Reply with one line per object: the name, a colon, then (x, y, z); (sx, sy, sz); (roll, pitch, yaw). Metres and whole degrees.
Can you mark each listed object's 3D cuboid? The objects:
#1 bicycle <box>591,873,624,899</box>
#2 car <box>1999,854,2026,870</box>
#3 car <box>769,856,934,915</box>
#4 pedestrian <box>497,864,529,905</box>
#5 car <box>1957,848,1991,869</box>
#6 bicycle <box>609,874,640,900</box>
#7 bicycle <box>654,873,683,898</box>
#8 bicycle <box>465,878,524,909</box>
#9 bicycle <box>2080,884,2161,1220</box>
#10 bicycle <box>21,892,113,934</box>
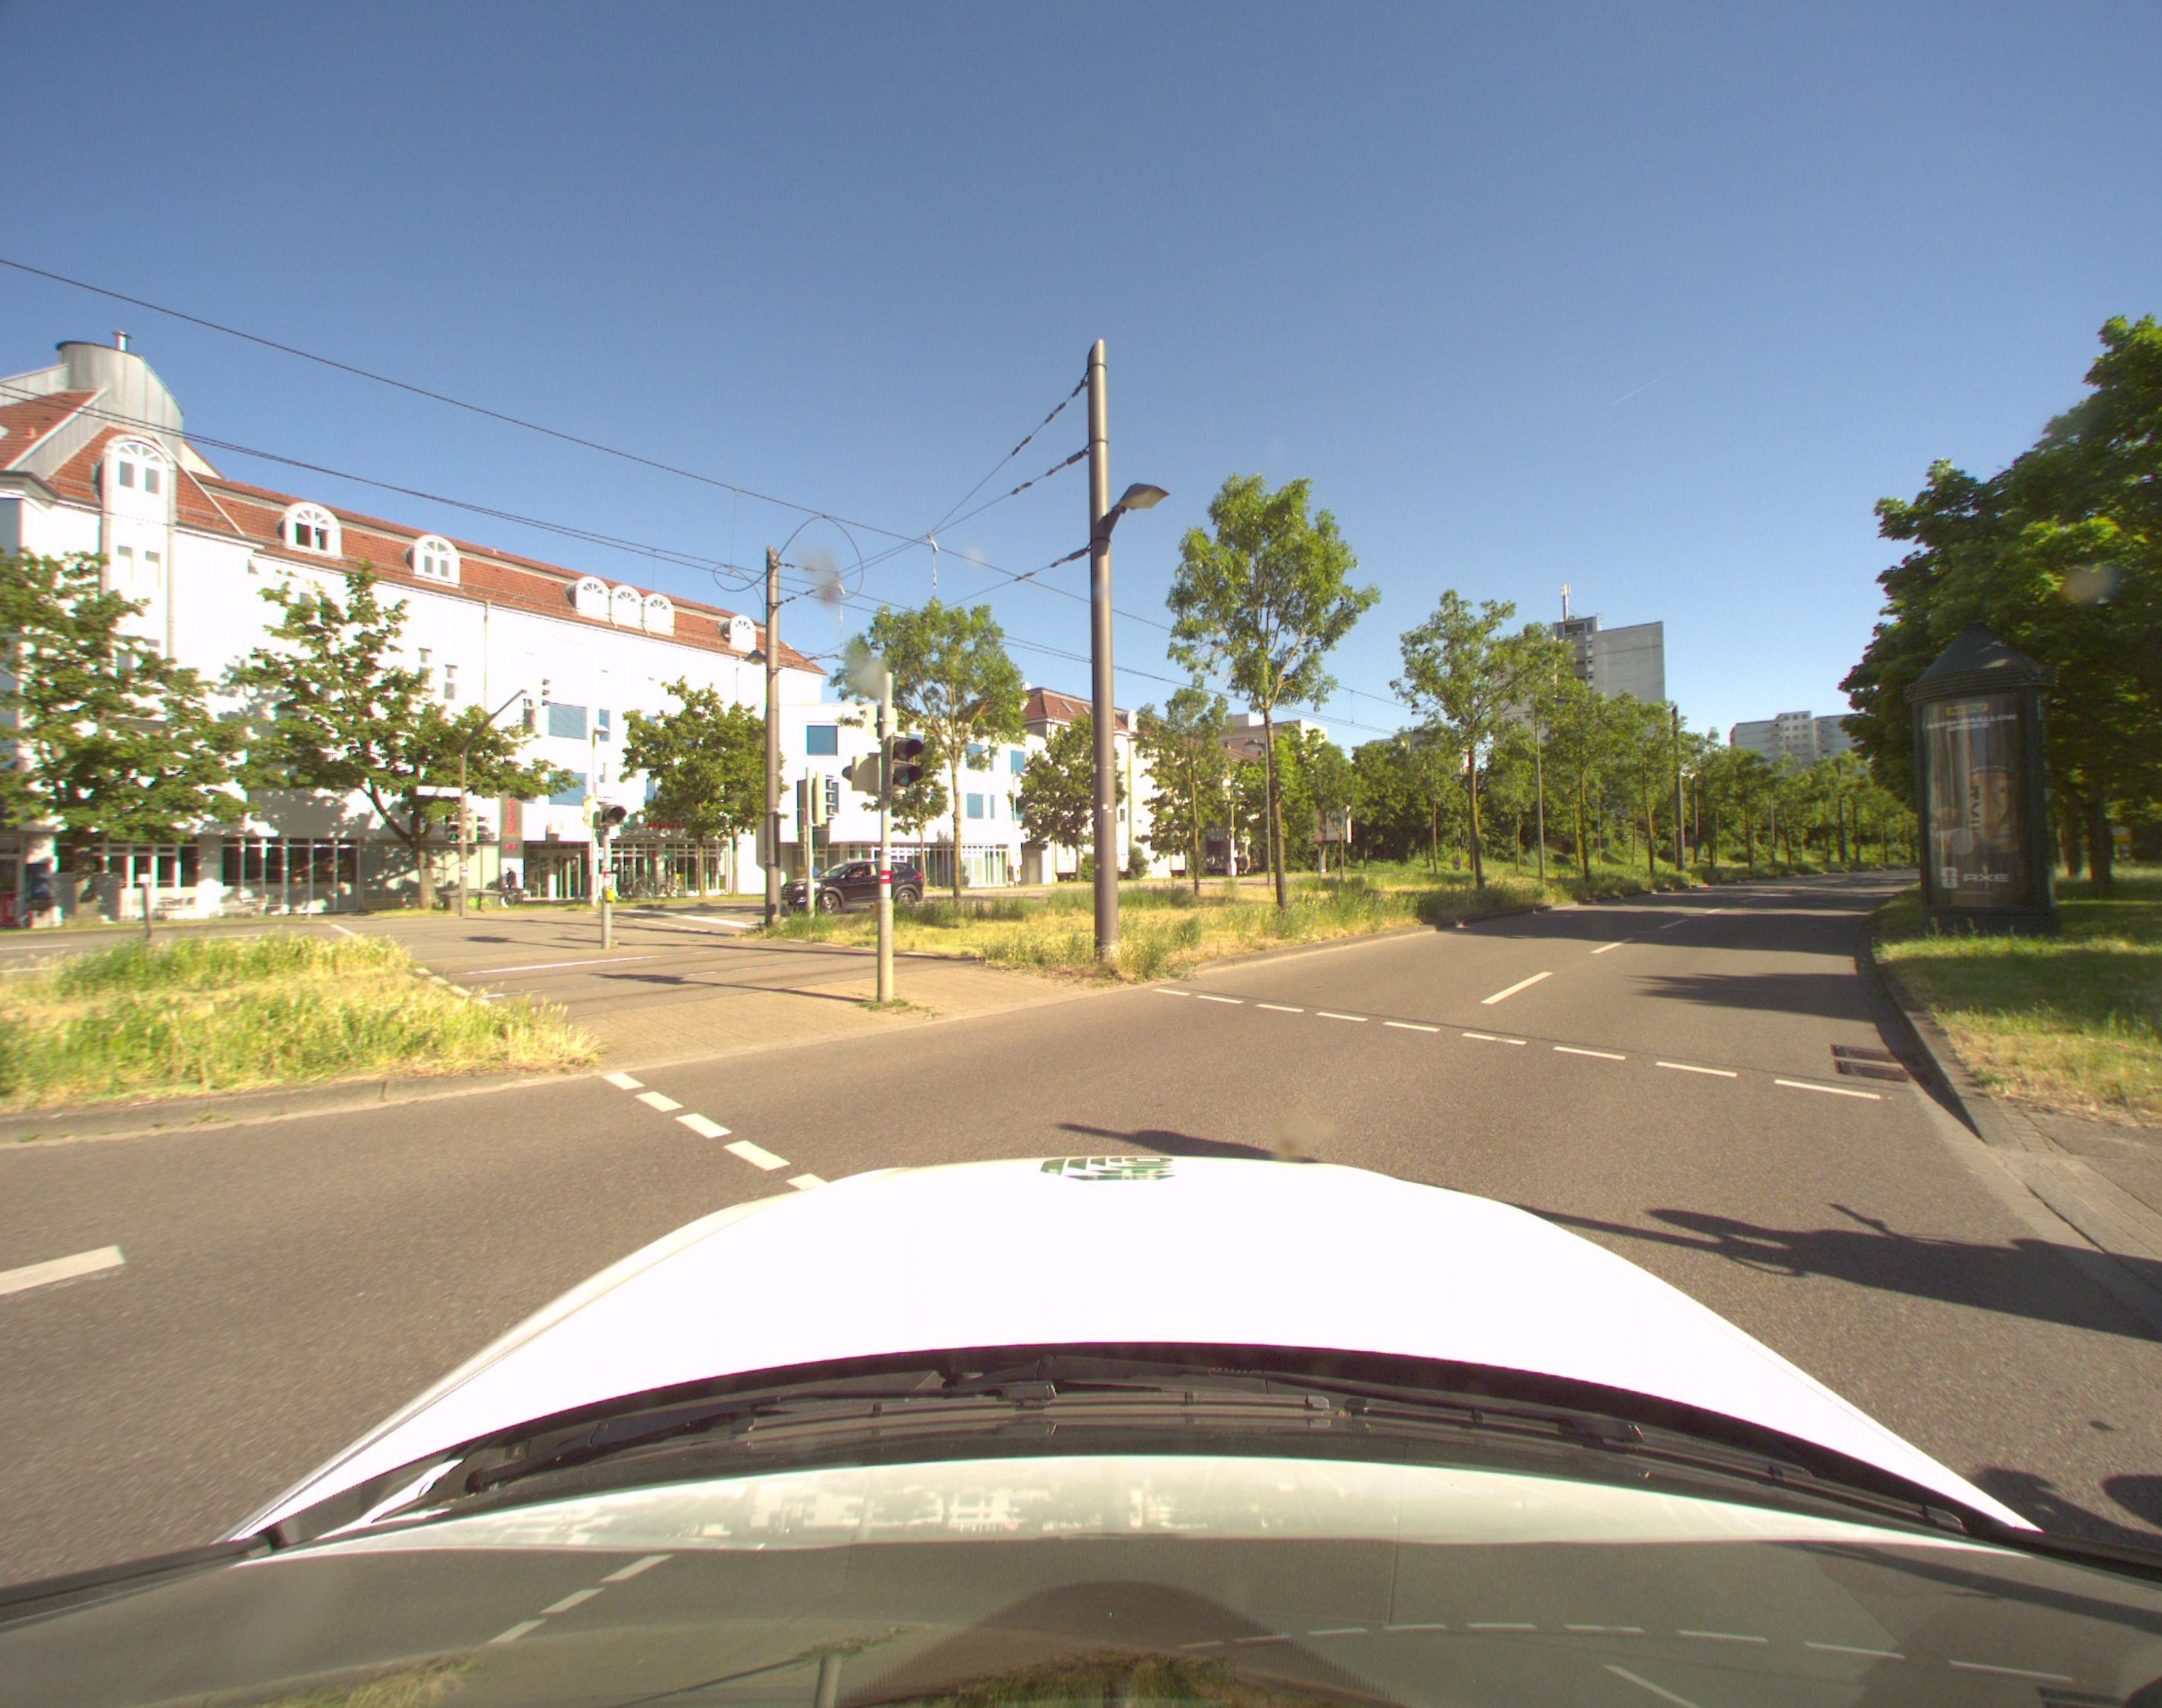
bicycle: (-22.195, 1.505, 38.153); (1.845, 1.182, 0.566); (-2, -1, 35)
car: (100.636, 0.861, 88.005); (3.890, 1.578, 1.674); (2, -4, -39)
car: (-7.039, 0.917, 25.283); (4.542, 1.609, 1.975); (-1, -1, -45)
pedestrian: (-24.955, 1.329, 35.777); (0.645, 1.723, 0.999); (-2, -1, 35)
car: (73.378, 0.392, 66.880); (3.891, 1.578, 1.673); (3, -4, -40)
bicycle: (-21.898, 1.571, 39.062); (1.845, 1.182, 0.566); (-2, -1, 35)
bicycle: (-20.439, 1.569, 40.338); (1.845, 1.182, 0.566); (-2, -1, 38)
bicycle: (-24.160, 1.608, 33.559); (0.555, 1.182, 1.881); (-2, -1, 32)
bicycle: (5.018, 0.798, 2.546); (0.792, 1.348, 2.250); (-1, -1, -15)
bicycle: (-27.506, 1.592, 22.122); (1.525, 1.027, 0.467); (-1, -1, -43)
